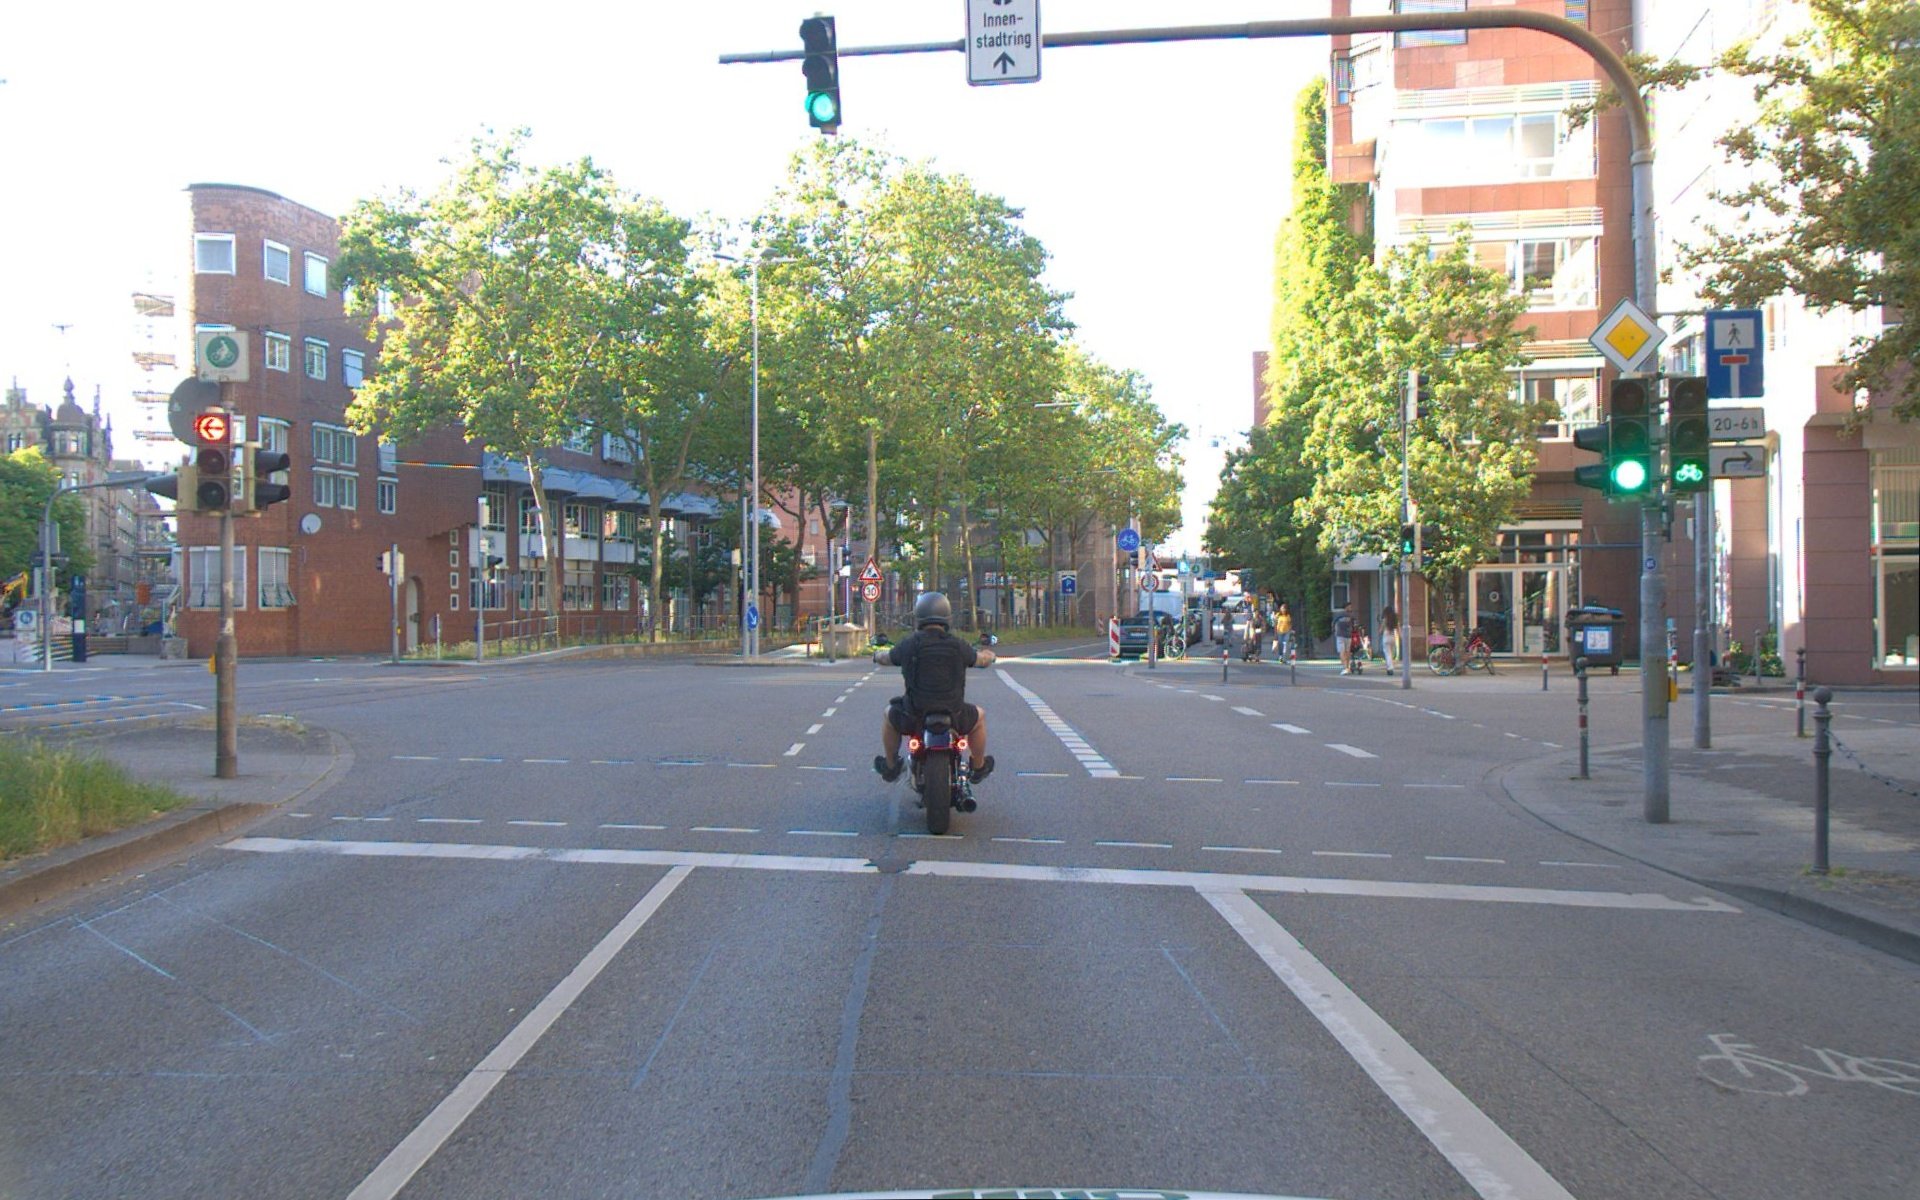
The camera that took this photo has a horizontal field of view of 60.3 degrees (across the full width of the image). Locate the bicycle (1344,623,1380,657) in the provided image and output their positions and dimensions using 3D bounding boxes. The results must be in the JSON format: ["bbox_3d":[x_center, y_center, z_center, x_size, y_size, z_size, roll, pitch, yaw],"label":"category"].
[{"bbox_3d":[11.726,1.151,48.249,0.721,0.956,1.753,0,0,4],"label":"bicycle"}]

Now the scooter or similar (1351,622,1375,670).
[{"bbox_3d":[9.951,1.128,40.890,0.386,1.178,1.250,0,0,6],"label":"scooter or similar"}]

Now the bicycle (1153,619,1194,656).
[{"bbox_3d":[6.318,1.094,48.977,0.723,1.071,1.748,0,0,-9],"label":"bicycle"}]

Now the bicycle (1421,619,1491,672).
[{"bbox_3d":[11.997,1.097,39.993,1.534,1.248,0.578,0,-1,5],"label":"bicycle"}]

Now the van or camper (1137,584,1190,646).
[{"bbox_3d":[8.963,0.657,72.539,2.005,2.585,5.777,0,-1,10],"label":"van or camper"}]

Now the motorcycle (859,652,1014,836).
[{"bbox_3d":[-0.127,0.954,11.589,0.997,1.116,2.008,0,0,1],"label":"motorcycle"}]

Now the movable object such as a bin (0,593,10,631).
[{"bbox_3d":[-59.420,0.738,100.815,1.894,2.351,2.777,0,0,-15],"label":"movable object such as a bin"}]

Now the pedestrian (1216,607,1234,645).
[{"bbox_3d":[11.686,1.140,72.947,0.747,1.673,0.547,0,-1,2],"label":"pedestrian"}]

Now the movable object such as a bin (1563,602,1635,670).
[{"bbox_3d":[14.438,0.813,37.384,1.380,1.508,0.872,0,-1,11],"label":"movable object such as a bin"}]

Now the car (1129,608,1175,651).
[{"bbox_3d":[7.702,1.160,66.107,1.585,1.648,4.489,0,0,9],"label":"car"}]

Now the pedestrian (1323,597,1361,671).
[{"bbox_3d":[9.412,0.833,40.760,0.770,1.794,0.609,0,-1,-2],"label":"pedestrian"}]

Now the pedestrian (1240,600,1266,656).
[{"bbox_3d":[8.425,0.794,47.550,0.630,1.606,0.748,0,-1,3],"label":"pedestrian"}]

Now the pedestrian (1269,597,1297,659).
[{"bbox_3d":[9.221,0.792,47.230,0.685,1.764,0.768,0,-1,3],"label":"pedestrian"}]

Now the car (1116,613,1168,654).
[{"bbox_3d":[6.189,1.116,55.884,1.585,1.325,4.315,0,0,8],"label":"car"}]

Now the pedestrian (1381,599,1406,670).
[{"bbox_3d":[10.580,0.835,40.381,0.449,1.702,0.680,0,-1,2],"label":"pedestrian"}]

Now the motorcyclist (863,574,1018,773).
[{"bbox_3d":[-0.118,0.490,11.402,0.991,1.285,0.774,2,0,1],"label":"motorcyclist"}]

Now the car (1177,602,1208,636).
[{"bbox_3d":[14.369,1.144,101.878,1.796,2.049,4.391,0,-1,9],"label":"car"}]

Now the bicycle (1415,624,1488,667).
[{"bbox_3d":[12.805,1.176,43.058,1.712,1.071,0.738,0,-1,27],"label":"bicycle"}]

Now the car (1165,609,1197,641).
[{"bbox_3d":[11.417,1.277,85.419,1.585,1.638,3.777,0,-1,8],"label":"car"}]

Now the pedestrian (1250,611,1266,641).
[{"bbox_3d":[15.065,1.311,83.529,0.749,1.471,0.781,1,-1,8],"label":"pedestrian"}]

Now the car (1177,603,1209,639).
[{"bbox_3d":[13.521,1.208,95.842,1.796,2.049,4.391,0,-1,9],"label":"car"}]
